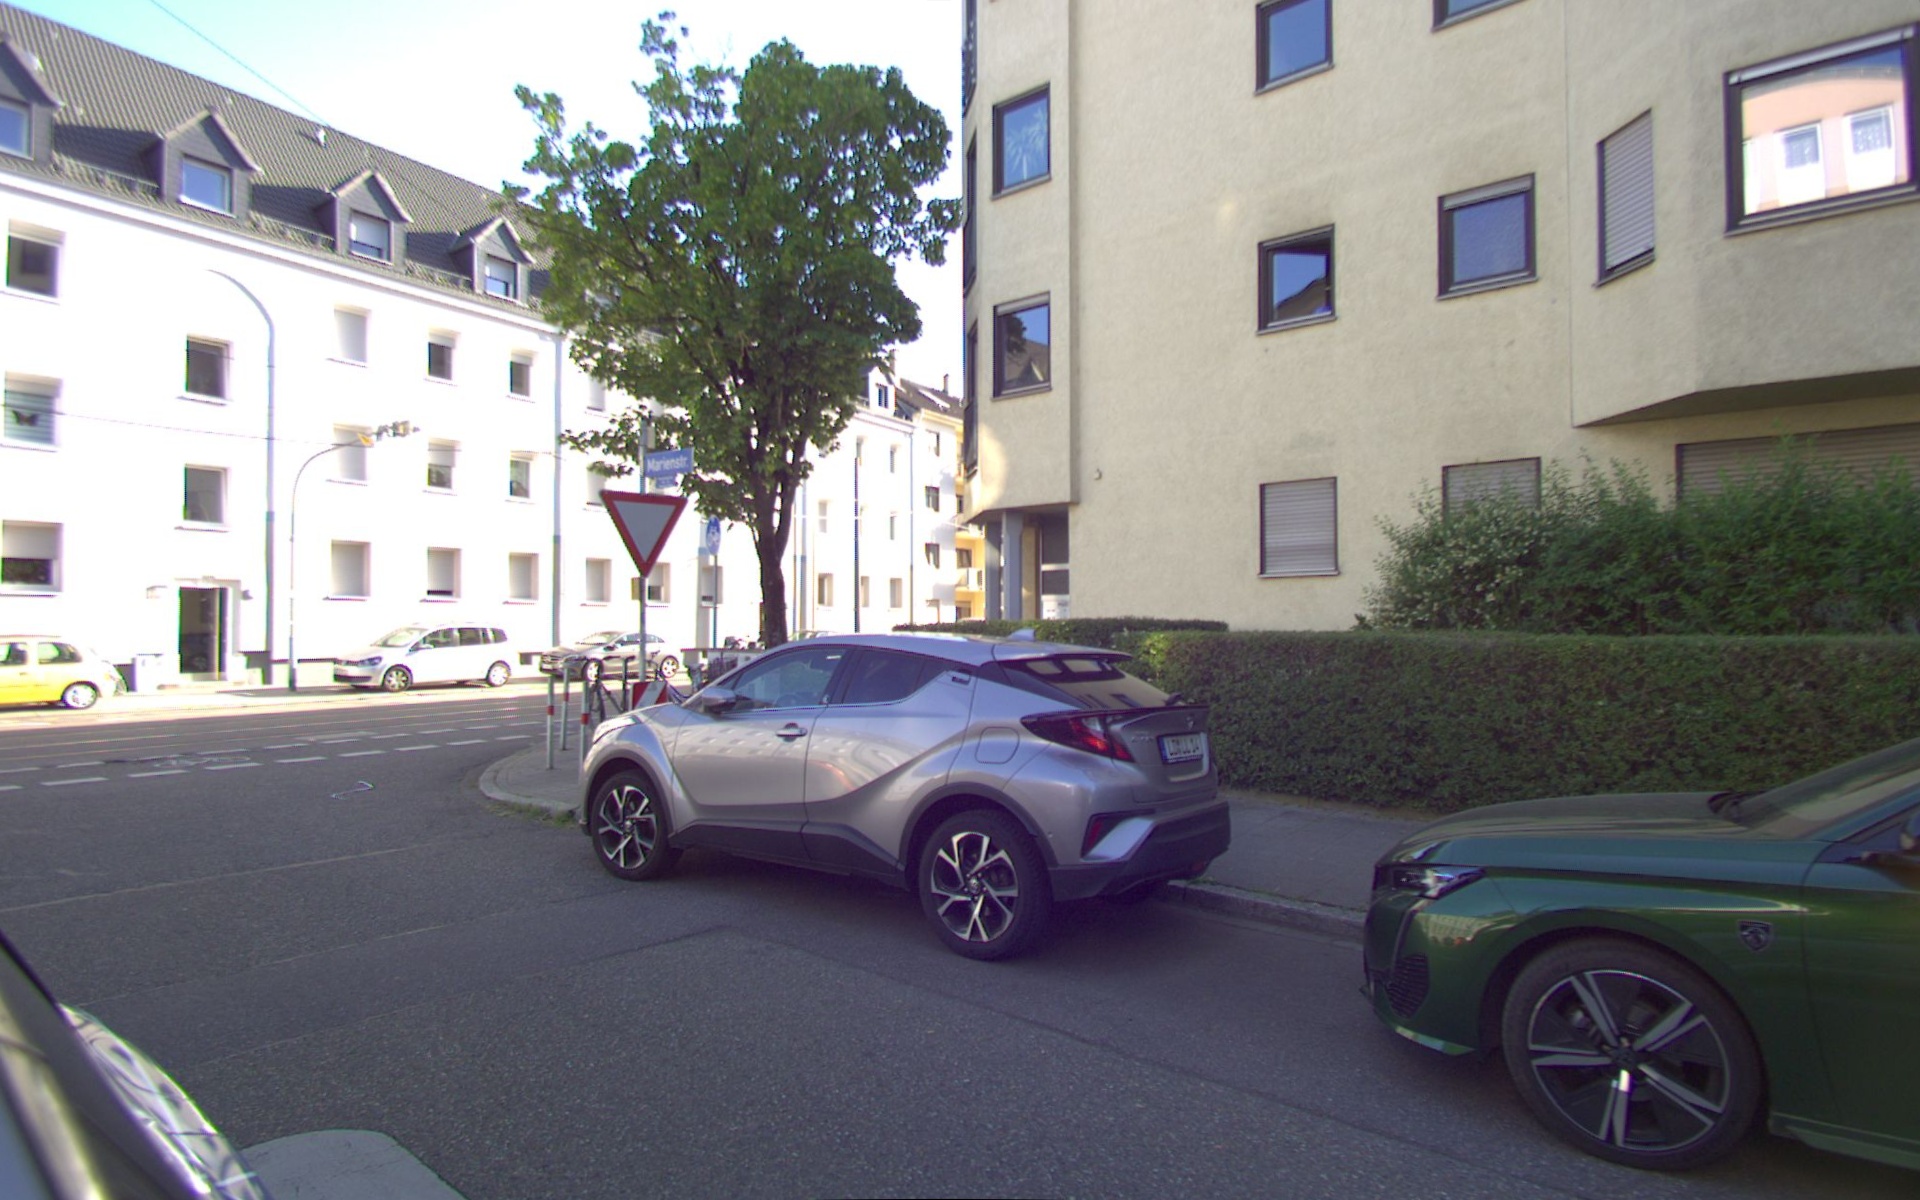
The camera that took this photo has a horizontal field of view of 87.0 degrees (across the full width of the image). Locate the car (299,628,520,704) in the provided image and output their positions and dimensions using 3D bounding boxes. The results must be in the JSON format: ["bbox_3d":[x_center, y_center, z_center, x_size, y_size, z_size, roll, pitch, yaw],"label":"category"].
[{"bbox_3d":[-13.525,1.563,25.176,1.754,1.678,4.578,1,-2,30],"label":"car"}]

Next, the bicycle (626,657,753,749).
[{"bbox_3d":[-3.547,1.313,13.224,1.808,1.093,0.588,-1,-3,36],"label":"bicycle"}]

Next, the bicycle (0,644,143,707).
[{"bbox_3d":[-18.779,1.547,21.235,1.096,1.206,2.302,-1,-3,32],"label":"bicycle"}]

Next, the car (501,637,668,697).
[{"bbox_3d":[-10.919,1.903,29.704,1.865,1.566,4.315,0,-2,34],"label":"car"}]

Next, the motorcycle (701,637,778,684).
[{"bbox_3d":[-7.396,2.013,34.118,0.806,1.533,2.676,0,-2,34],"label":"motorcycle"}]

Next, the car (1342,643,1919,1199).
[{"bbox_3d":[3.400,0.913,2.727,4.130,1.508,1.735,-1,-4,39],"label":"car"}]

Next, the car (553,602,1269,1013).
[{"bbox_3d":[-0.418,0.932,6.103,3.991,1.672,1.886,-1,-4,35],"label":"car"}]

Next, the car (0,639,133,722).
[{"bbox_3d":[-17.893,1.465,18.401,1.514,1.441,4.155,0,-1,32],"label":"car"}]

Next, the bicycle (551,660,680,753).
[{"bbox_3d":[-4.475,1.343,13.100,1.879,1.093,0.588,-1,-3,36],"label":"bicycle"}]
